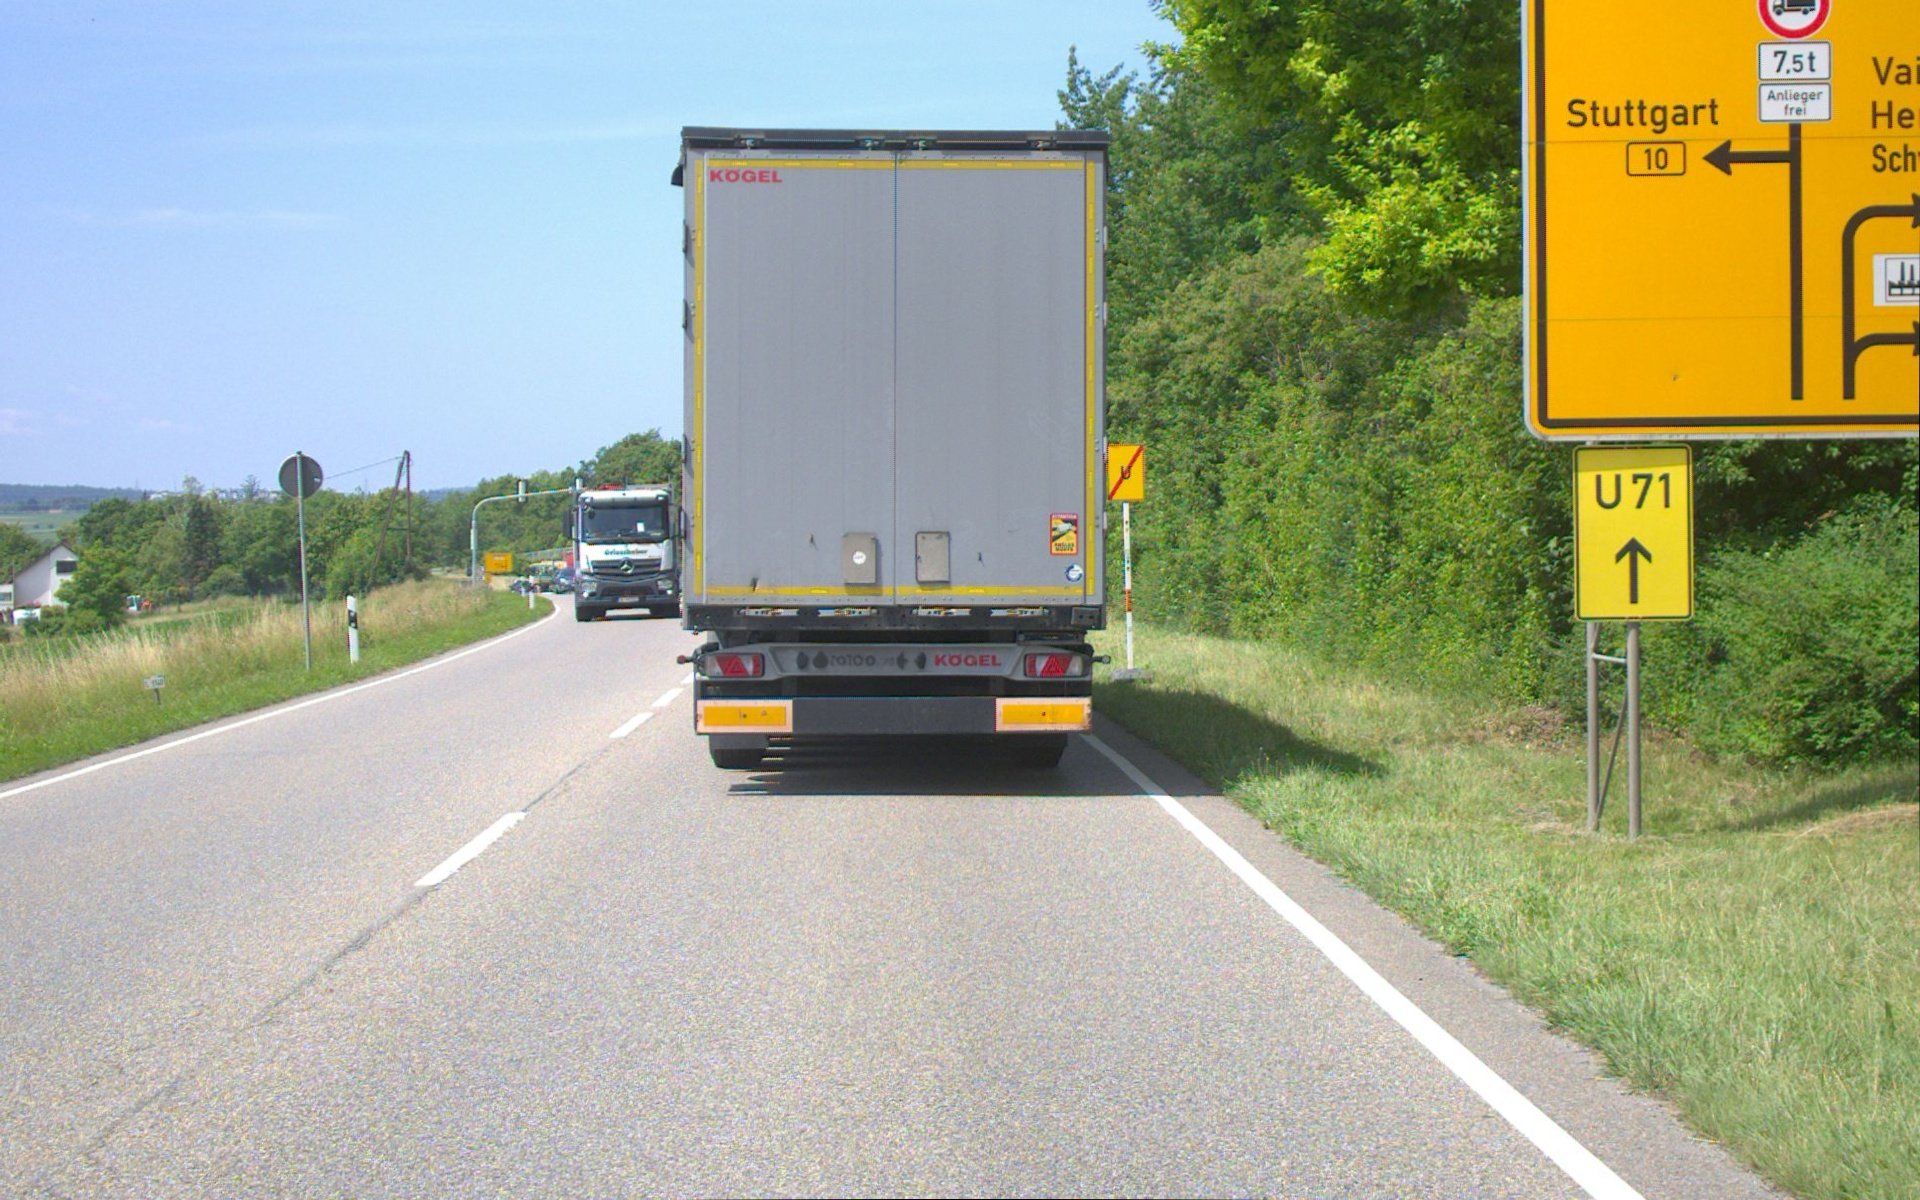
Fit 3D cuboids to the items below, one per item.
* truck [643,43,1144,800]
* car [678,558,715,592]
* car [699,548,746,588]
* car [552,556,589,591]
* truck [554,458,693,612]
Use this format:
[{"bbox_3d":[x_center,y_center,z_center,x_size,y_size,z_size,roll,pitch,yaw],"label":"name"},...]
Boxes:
[{"bbox_3d":[-0.633,-1.105,24.457,2.907,4.395,8.861,0,1,-3],"label":"truck"},{"bbox_3d":[-14.932,-1.416,194.528,1.892,1.771,4.387,-3,1,-6],"label":"car"},{"bbox_3d":[-12.389,-1.671,179.255,2.171,2.007,4.527,-3,1,-6],"label":"car"},{"bbox_3d":[-22.775,-1.554,201.054,1.993,1.943,4.503,-3,1,-7],"label":"car"},{"bbox_3d":[-8.465,-1.614,87.648,2.756,3.564,11.066,-3,1,-2],"label":"truck"}]
